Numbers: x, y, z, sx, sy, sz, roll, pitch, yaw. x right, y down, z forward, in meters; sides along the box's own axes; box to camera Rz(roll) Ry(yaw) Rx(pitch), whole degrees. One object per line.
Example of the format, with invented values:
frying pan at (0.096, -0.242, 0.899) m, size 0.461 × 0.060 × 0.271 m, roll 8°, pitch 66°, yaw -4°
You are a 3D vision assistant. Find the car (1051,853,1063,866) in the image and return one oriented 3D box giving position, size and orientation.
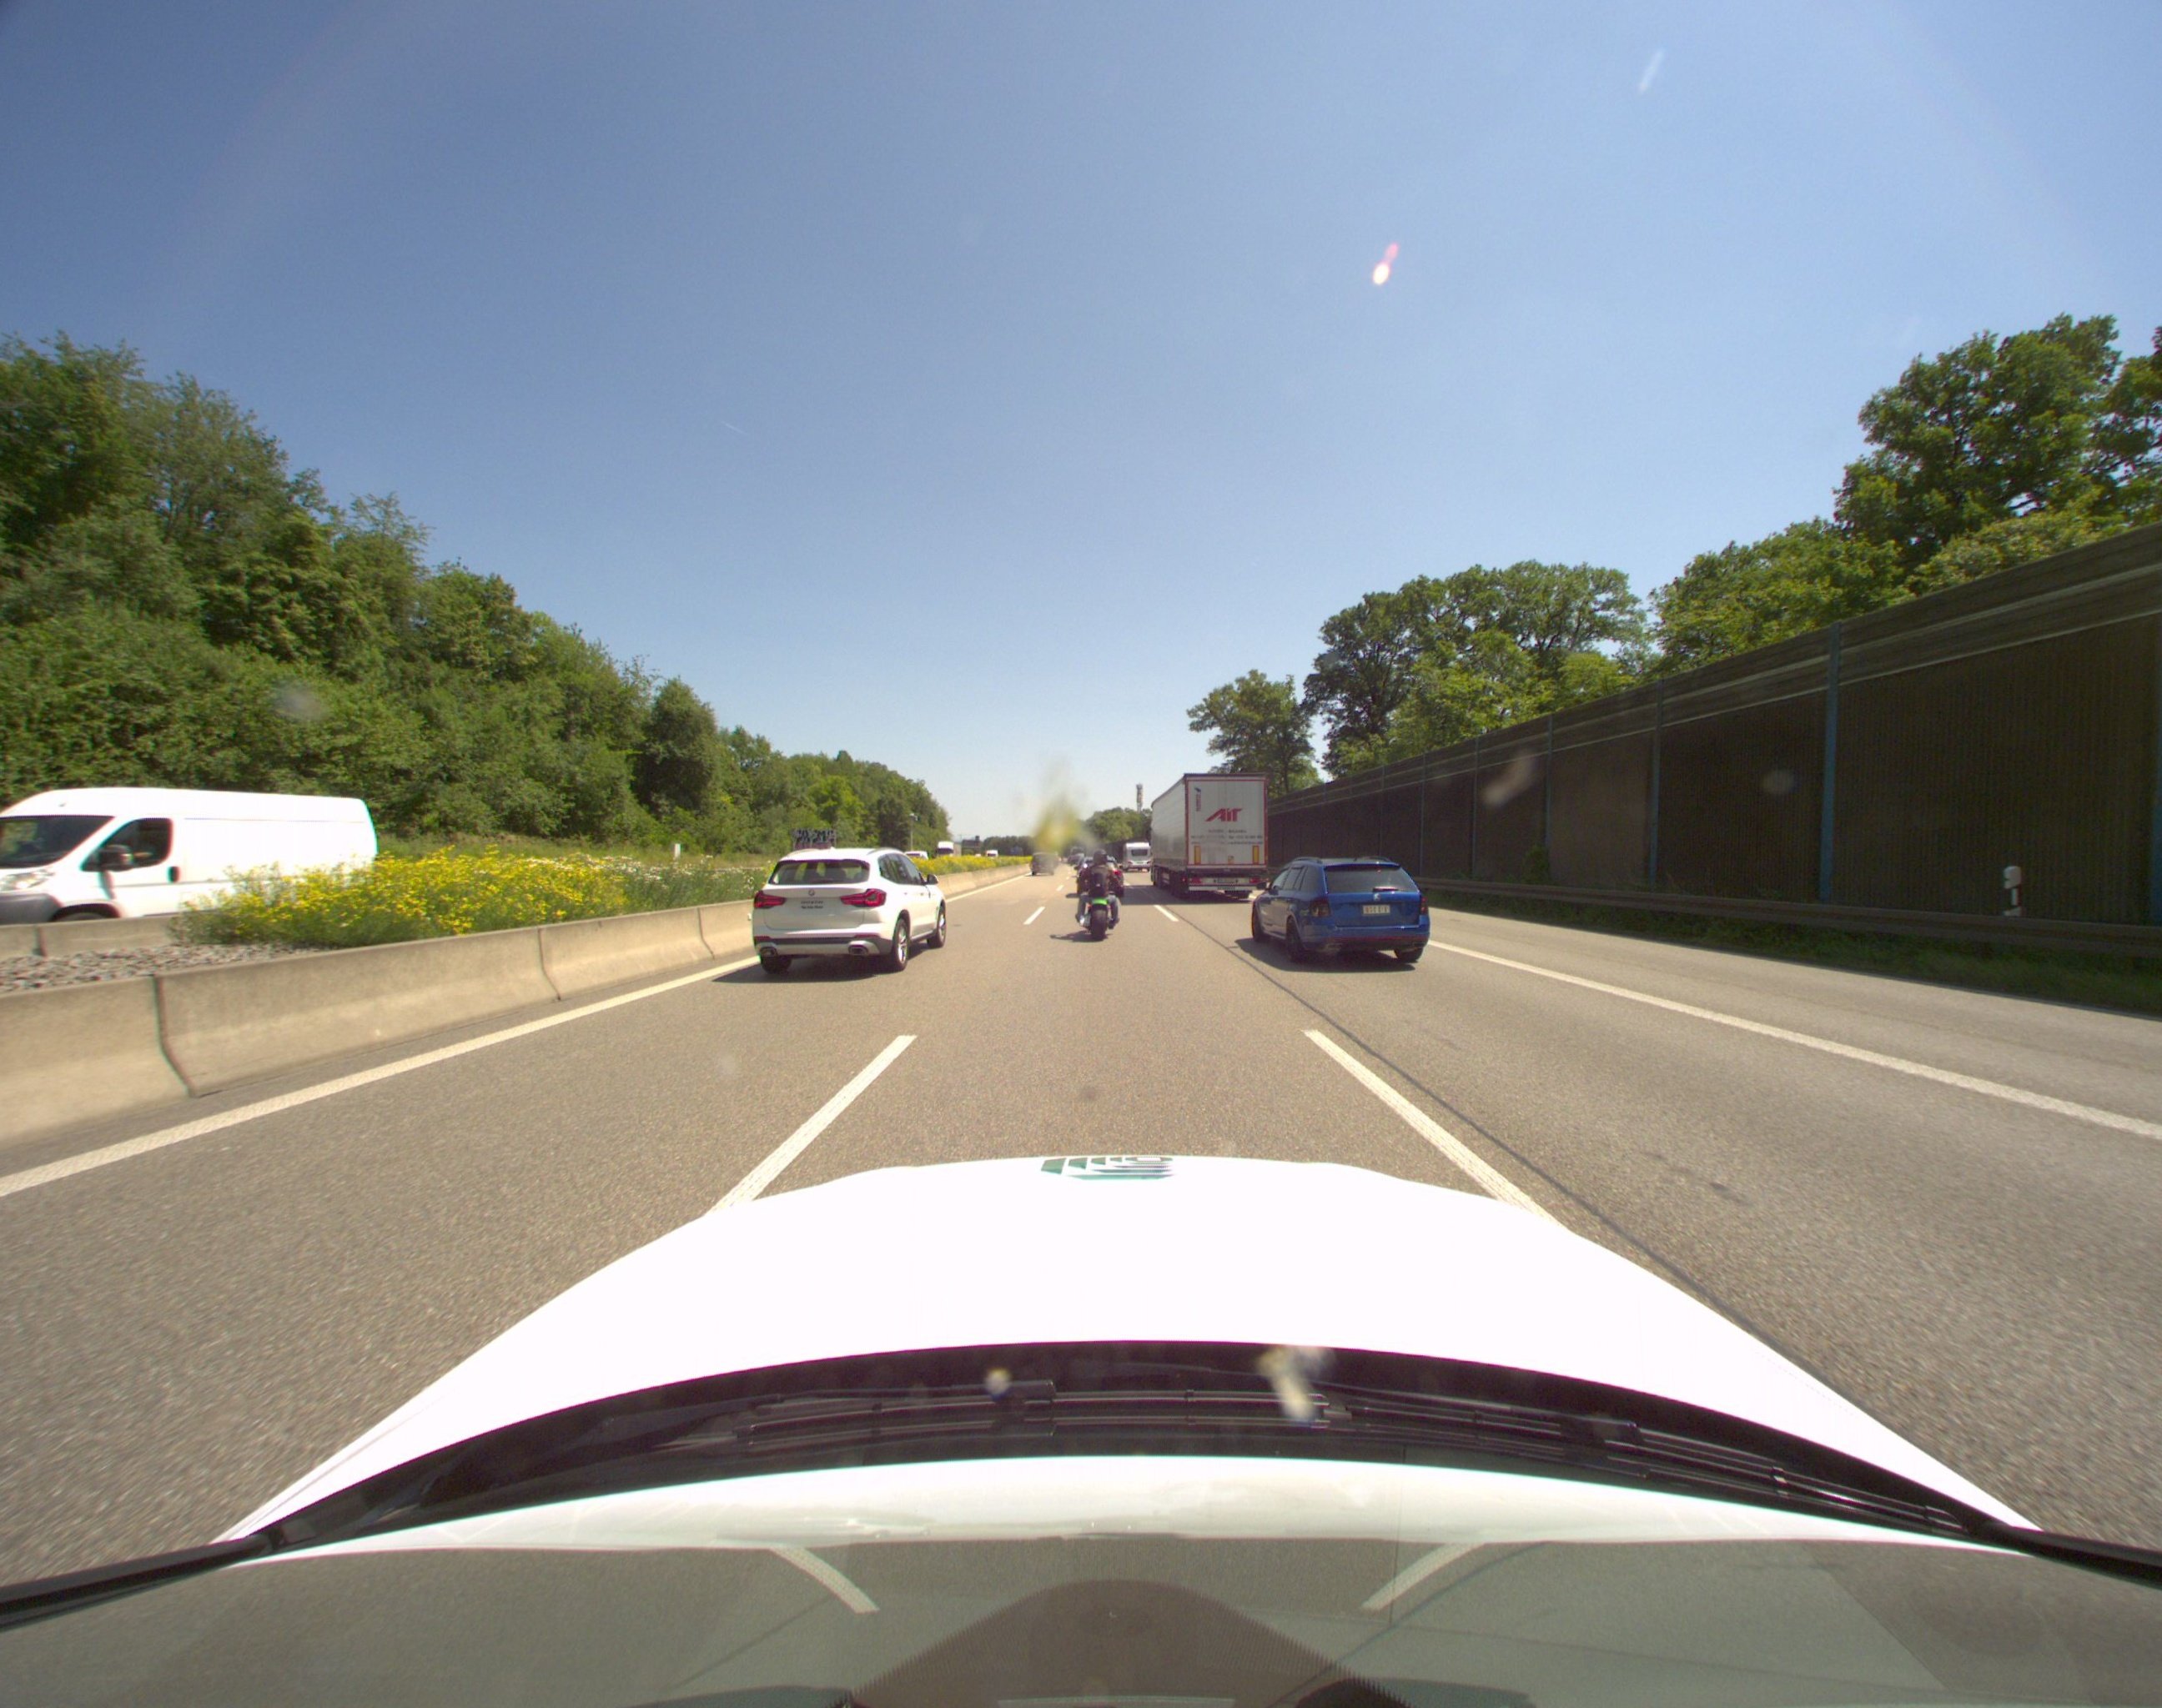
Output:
car at (-3.743, 0.882, 125.102) m, size 1.786 × 2.014 × 3.639 m, roll -1°, pitch -1°, yaw -1°

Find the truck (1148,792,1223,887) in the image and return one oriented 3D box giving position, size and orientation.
truck at (4.816, -0.624, 38.704) m, size 2.875 × 4.146 × 5.987 m, roll -1°, pitch 0°, yaw 1°

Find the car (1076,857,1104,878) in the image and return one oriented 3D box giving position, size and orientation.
car at (0.624, 1.011, 59.993) m, size 1.987 × 1.430 × 3.846 m, roll -1°, pitch -1°, yaw 0°

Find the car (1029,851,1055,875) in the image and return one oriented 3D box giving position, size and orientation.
car at (-3.107, 0.762, 66.214) m, size 1.893 × 1.874 × 4.411 m, roll -1°, pitch -1°, yaw 0°

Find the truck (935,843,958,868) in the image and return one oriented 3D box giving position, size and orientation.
truck at (-22.842, 0.357, 138.224) m, size 2.956 × 4.107 × 6.083 m, roll -1°, pitch -1°, yaw -2°

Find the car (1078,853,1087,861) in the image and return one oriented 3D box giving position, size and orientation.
car at (0.344, 0.748, 194.826) m, size 2.103 × 1.876 × 3.995 m, roll -1°, pitch -1°, yaw -3°

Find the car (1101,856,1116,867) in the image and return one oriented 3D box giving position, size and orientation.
car at (4.233, 1.210, 125.295) m, size 1.988 × 1.574 × 3.998 m, roll -1°, pitch -1°, yaw -1°

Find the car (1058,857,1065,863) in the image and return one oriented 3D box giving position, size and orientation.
car at (-5.395, 1.598, 220.607) m, size 1.828 × 1.496 × 3.739 m, roll -1°, pitch -1°, yaw -3°

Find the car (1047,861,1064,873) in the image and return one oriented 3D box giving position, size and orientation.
car at (-3.217, 1.660, 103.680) m, size 1.988 × 1.387 × 3.998 m, roll -1°, pitch -1°, yaw -1°

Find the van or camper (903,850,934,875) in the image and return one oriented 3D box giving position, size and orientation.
van or camper at (-13.548, 0.734, 68.039) m, size 1.686 × 2.012 × 4.214 m, roll -1°, pitch 0°, yaw 1°

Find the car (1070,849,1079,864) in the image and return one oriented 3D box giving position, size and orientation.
car at (-1.787, 0.758, 214.686) m, size 2.128 × 3.862 × 8.133 m, roll 0°, pitch 0°, yaw -3°

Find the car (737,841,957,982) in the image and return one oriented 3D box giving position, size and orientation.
car at (-3.245, 0.724, 12.448) m, size 1.858 × 1.694 × 4.956 m, roll -1°, pitch 0°, yaw 1°

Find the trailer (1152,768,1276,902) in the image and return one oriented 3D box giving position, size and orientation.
trailer at (4.678, -0.556, 31.827) m, size 2.875 × 4.038 × 13.798 m, roll -1°, pitch 0°, yaw 1°

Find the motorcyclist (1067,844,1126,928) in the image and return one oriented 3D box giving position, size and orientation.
motorcyclist at (0.330, 0.581, 15.233) m, size 0.895 × 1.475 × 1.875 m, roll -1°, pitch -1°, yaw 7°

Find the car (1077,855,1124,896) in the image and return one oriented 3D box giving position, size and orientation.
car at (0.736, 0.824, 31.402) m, size 1.656 × 1.453 × 3.869 m, roll -1°, pitch -1°, yaw 1°

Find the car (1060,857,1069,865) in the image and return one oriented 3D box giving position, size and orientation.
car at (-3.571, 1.562, 179.730) m, size 1.826 × 1.496 × 3.743 m, roll -1°, pitch -1°, yaw 1°

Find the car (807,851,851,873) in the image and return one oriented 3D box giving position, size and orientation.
car at (-17.546, 0.593, 56.840) m, size 1.769 × 1.491 × 4.000 m, roll -1°, pitch -1°, yaw 1°

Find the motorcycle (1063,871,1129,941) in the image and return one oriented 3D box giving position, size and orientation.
motorcycle at (0.341, 0.919, 15.326) m, size 0.959 × 1.148 × 2.817 m, roll 0°, pitch 0°, yaw 7°

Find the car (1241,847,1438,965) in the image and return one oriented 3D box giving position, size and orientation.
car at (3.732, 0.709, 12.603) m, size 1.645 × 1.483 × 4.481 m, roll -1°, pitch -1°, yaw 0°

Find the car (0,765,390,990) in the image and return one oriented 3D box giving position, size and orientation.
car at (-14.277, 0.302, 12.602) m, size 2.193 × 2.741 × 5.747 m, roll -1°, pitch 0°, yaw 1°

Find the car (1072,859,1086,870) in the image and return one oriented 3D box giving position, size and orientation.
car at (-0.303, 1.667, 124.653) m, size 1.987 × 1.640 × 3.999 m, roll -1°, pitch -1°, yaw 0°

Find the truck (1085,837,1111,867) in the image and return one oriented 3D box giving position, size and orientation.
truck at (2.949, -0.234, 144.307) m, size 3.794 × 4.960 × 8.940 m, roll -1°, pitch -1°, yaw -3°

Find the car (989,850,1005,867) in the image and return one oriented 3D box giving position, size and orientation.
car at (-15.143, 0.802, 146.697) m, size 2.062 × 2.896 × 7.460 m, roll -1°, pitch 0°, yaw 0°

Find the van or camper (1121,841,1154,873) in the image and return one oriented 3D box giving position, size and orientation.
van or camper at (5.057, 0.343, 74.276) m, size 2.675 × 2.813 × 6.803 m, roll -1°, pitch -1°, yaw 1°
